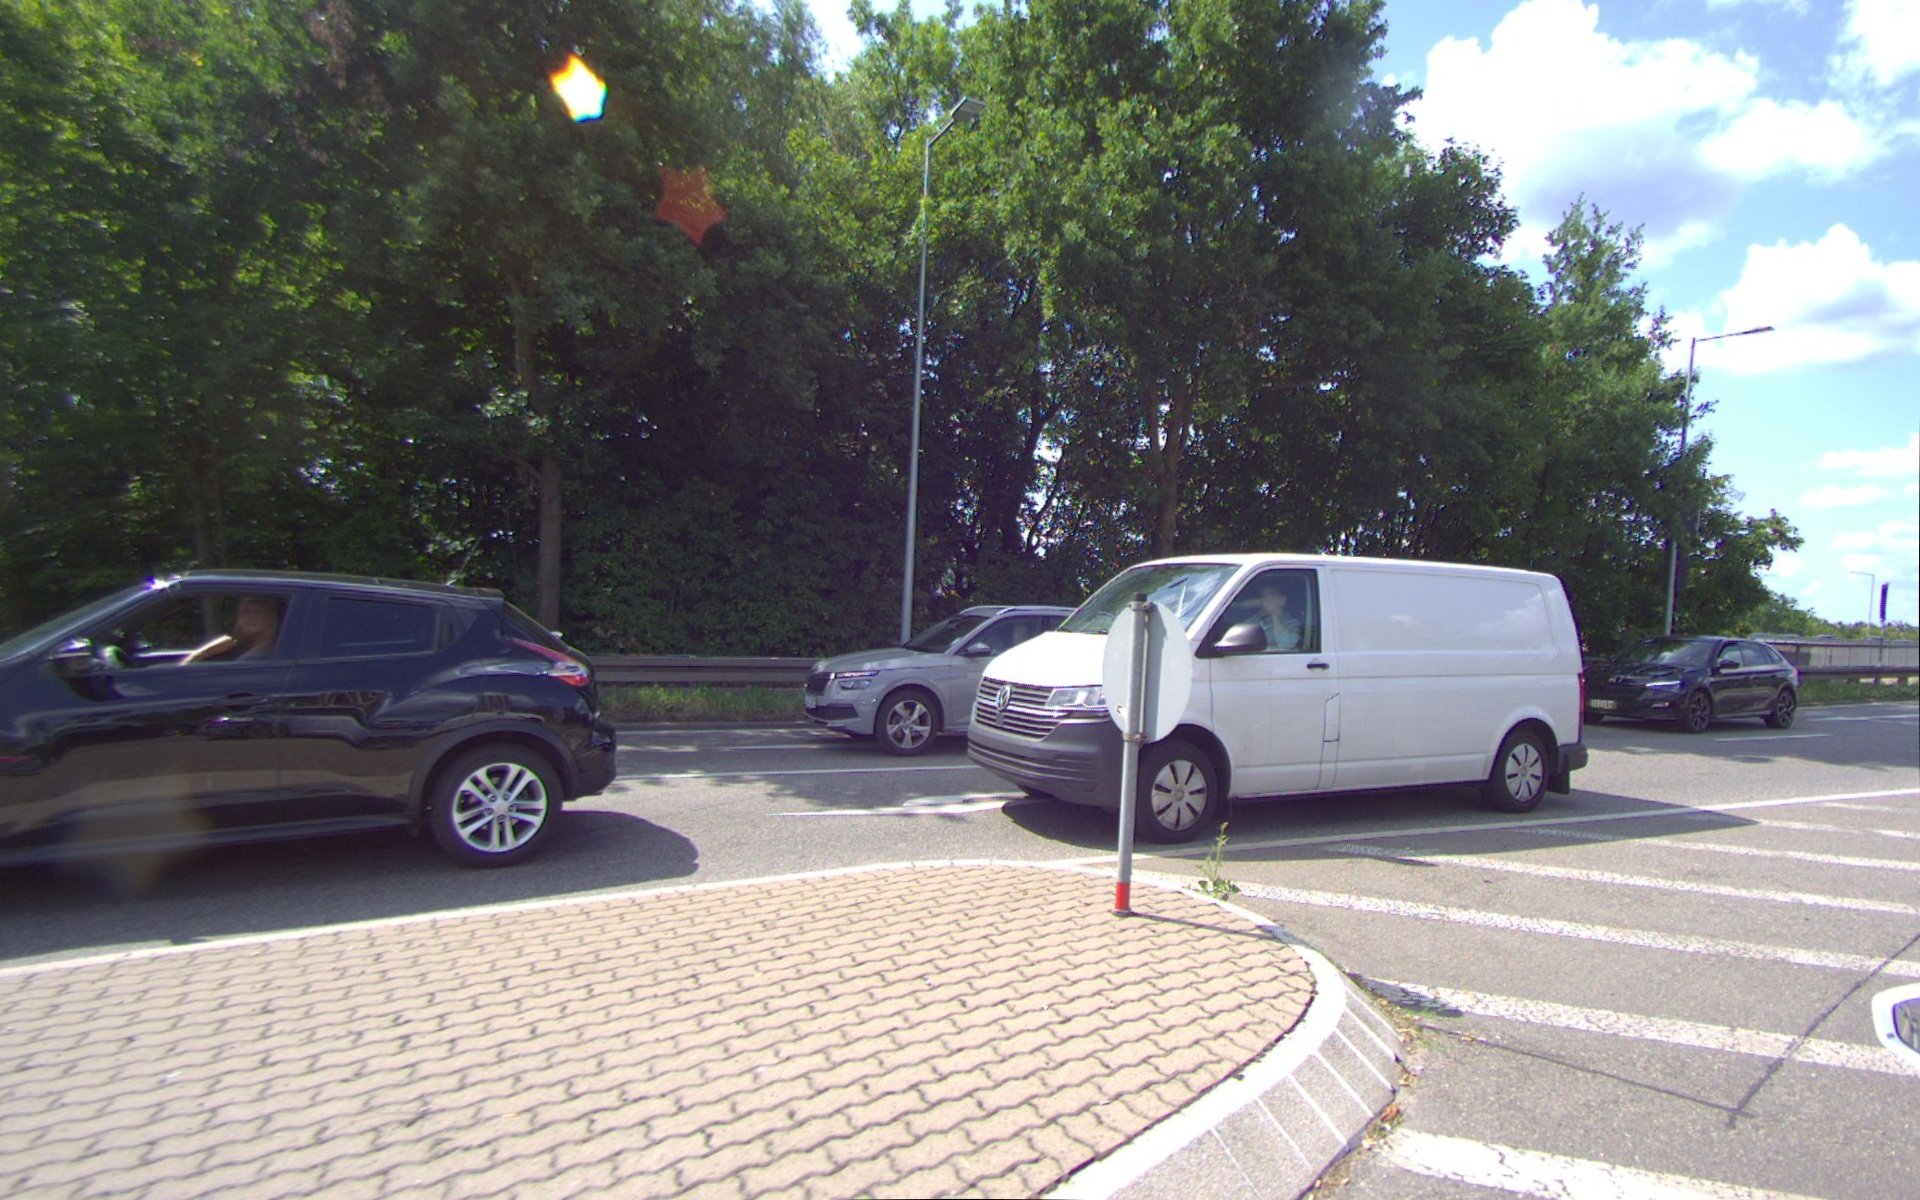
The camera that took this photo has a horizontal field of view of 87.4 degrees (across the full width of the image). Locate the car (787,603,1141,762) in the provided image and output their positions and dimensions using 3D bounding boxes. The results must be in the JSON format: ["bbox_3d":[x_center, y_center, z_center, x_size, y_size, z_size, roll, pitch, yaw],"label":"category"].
[{"bbox_3d":[0.124,0.842,11.259,3.783,1.504,1.513,2,-1,-34],"label":"car"}]

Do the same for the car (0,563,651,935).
[{"bbox_3d":[-3.830,0.646,5.447,3.783,1.578,1.687,2,0,-34],"label":"car"}]

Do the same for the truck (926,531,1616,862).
[{"bbox_3d":[2.556,0.637,7.949,5.299,1.938,1.954,2,0,-26],"label":"truck"}]

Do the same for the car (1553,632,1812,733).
[{"bbox_3d":[11.756,1.295,16.296,4.282,1.428,1.629,2,-1,-27],"label":"car"}]
